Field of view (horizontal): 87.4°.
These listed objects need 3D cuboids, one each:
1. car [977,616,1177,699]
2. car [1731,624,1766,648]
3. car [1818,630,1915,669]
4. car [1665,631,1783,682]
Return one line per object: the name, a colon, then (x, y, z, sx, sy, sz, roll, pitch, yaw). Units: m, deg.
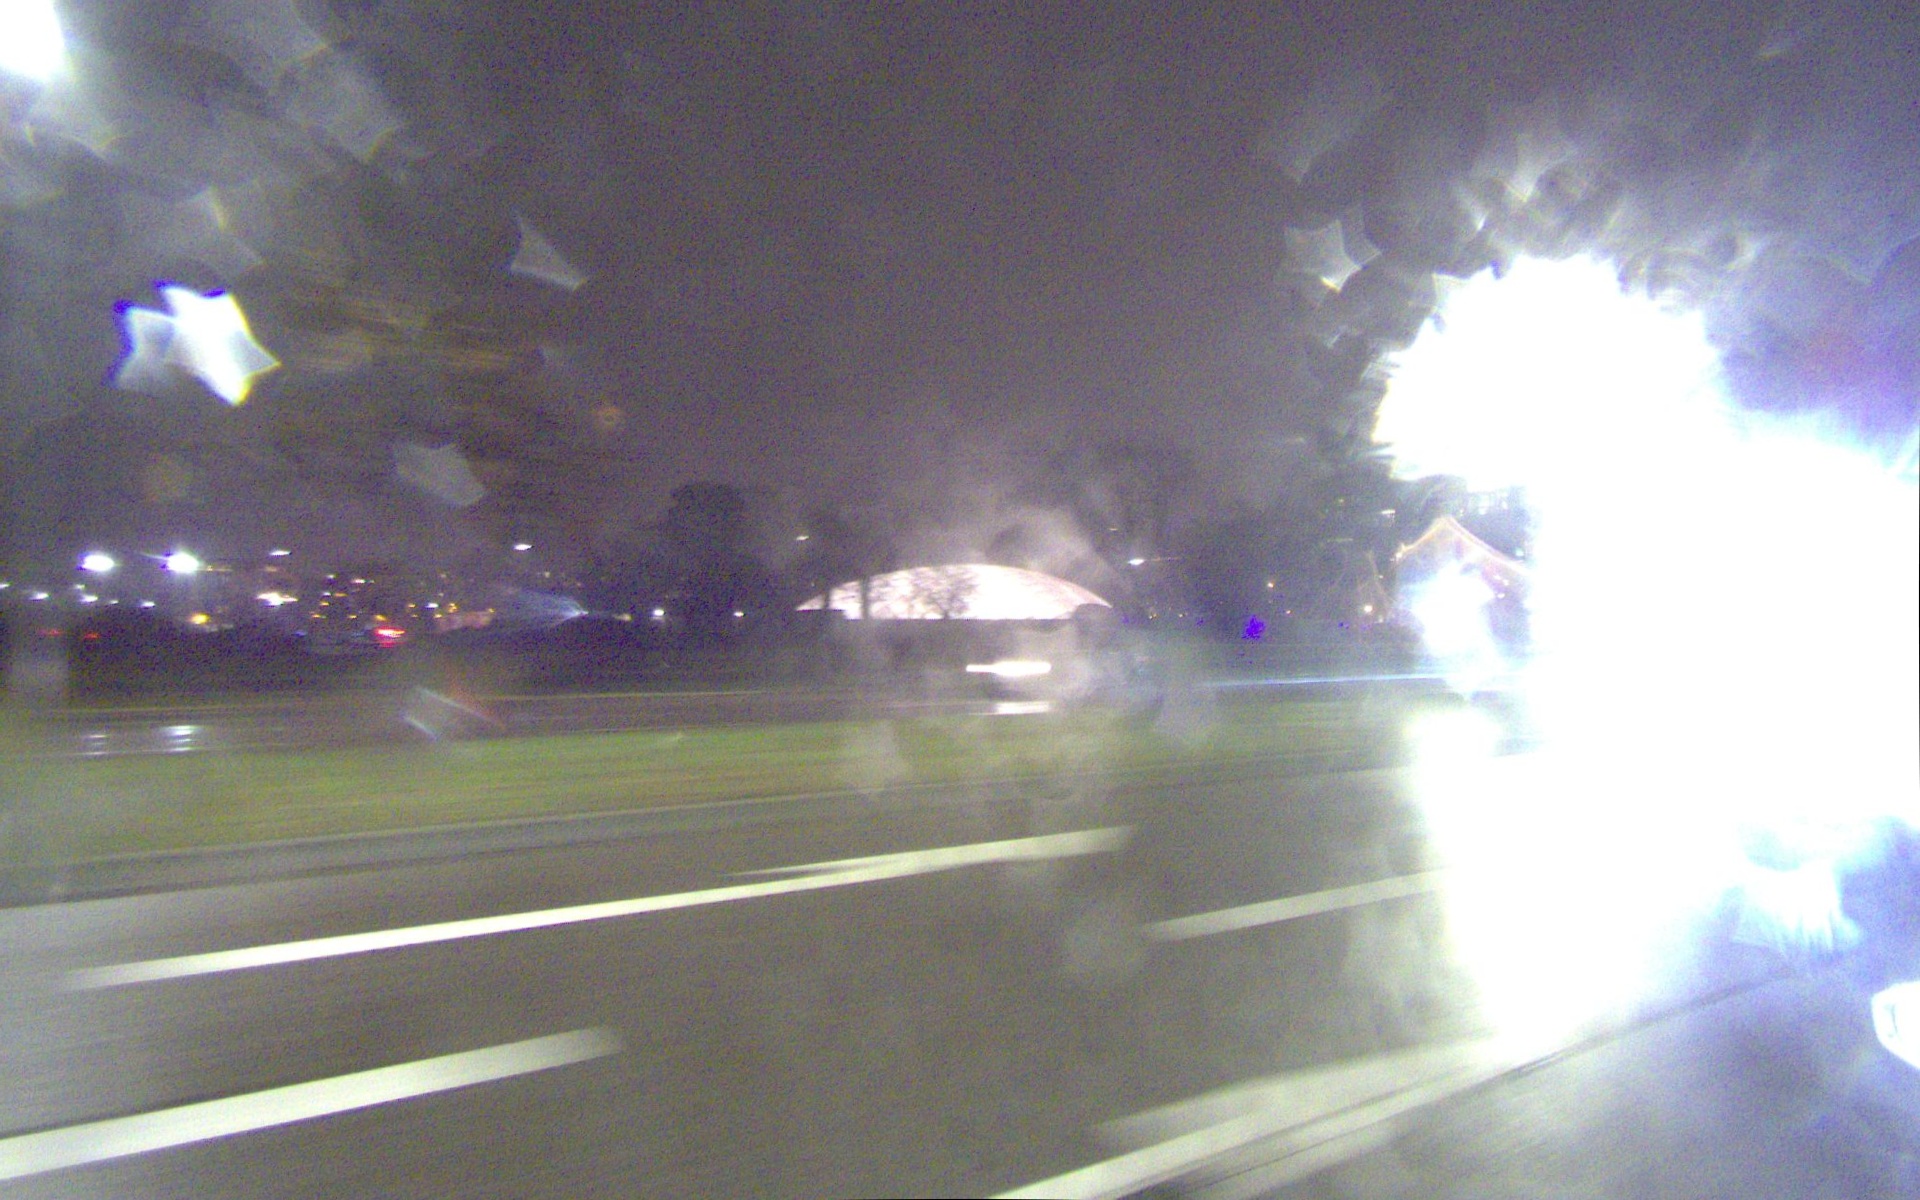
car: (2.736, 1.258, 23.192, 4.388, 1.736, 1.820, 1, 0, -30)
car: (60.546, 2.742, 77.151, 2.038, 1.738, 5.020, 1, 0, 38)
car: (37.976, 2.034, 42.066, 4.607, 1.484, 1.819, 1, 0, -32)
car: (25.029, 1.807, 32.890, 3.956, 1.484, 1.819, 1, 0, -33)
